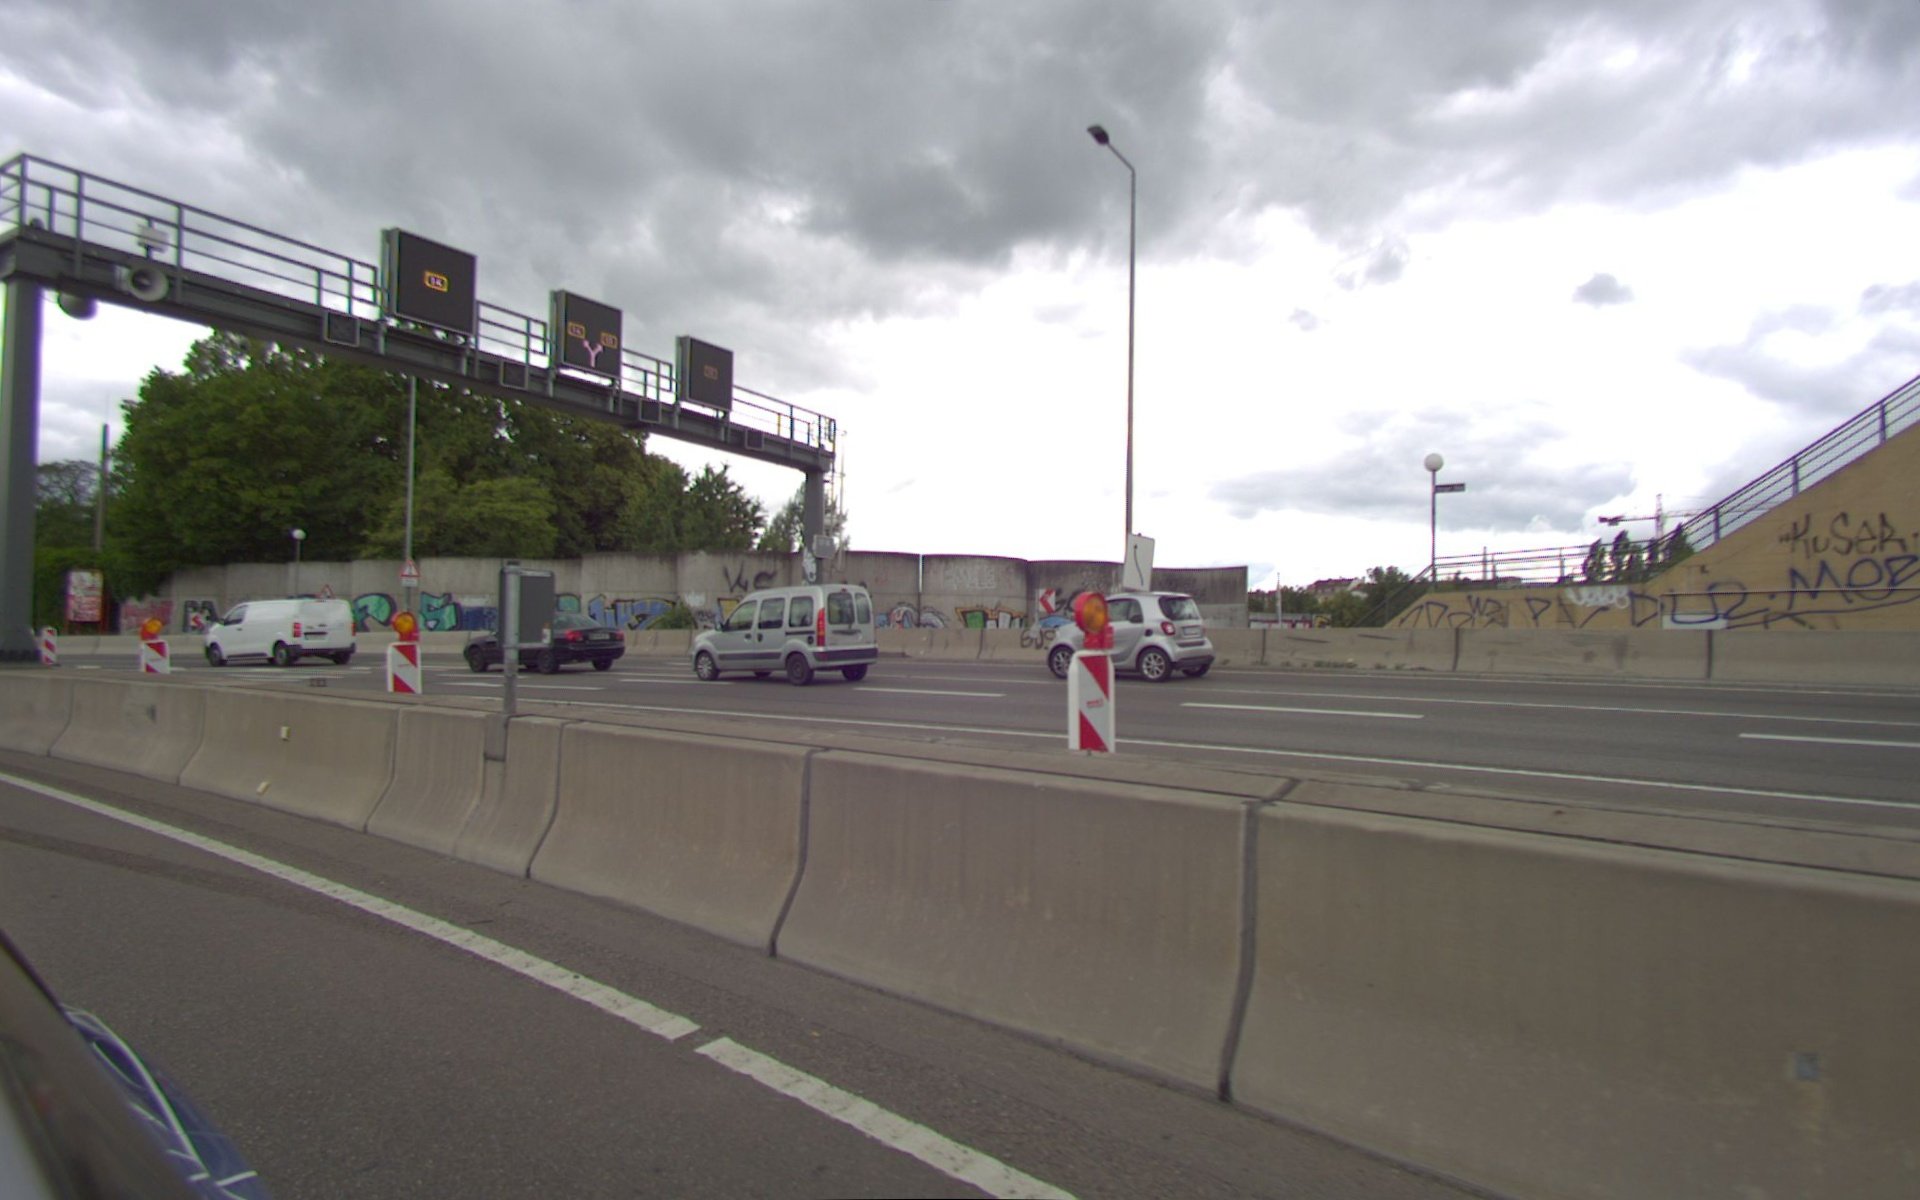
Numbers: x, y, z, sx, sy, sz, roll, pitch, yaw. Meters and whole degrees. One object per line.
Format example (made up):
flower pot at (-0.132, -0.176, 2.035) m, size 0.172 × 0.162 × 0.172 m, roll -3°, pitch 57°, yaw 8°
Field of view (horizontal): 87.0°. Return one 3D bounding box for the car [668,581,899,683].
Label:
car at (-3.387, 0.584, 19.057) m, size 4.254 × 1.698 × 1.974 m, roll -1°, pitch -1°, yaw 38°

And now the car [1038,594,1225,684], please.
car at (3.065, 0.680, 18.260) m, size 2.937 × 1.487 × 1.610 m, roll -1°, pitch -1°, yaw 38°

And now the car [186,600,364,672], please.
car at (-20.222, 1.037, 29.847) m, size 5.079 × 1.966 × 2.224 m, roll -1°, pitch -1°, yaw 28°

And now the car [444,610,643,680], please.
car at (-9.878, 1.019, 23.935) m, size 4.569 × 1.500 × 1.980 m, roll -1°, pitch -1°, yaw 30°
